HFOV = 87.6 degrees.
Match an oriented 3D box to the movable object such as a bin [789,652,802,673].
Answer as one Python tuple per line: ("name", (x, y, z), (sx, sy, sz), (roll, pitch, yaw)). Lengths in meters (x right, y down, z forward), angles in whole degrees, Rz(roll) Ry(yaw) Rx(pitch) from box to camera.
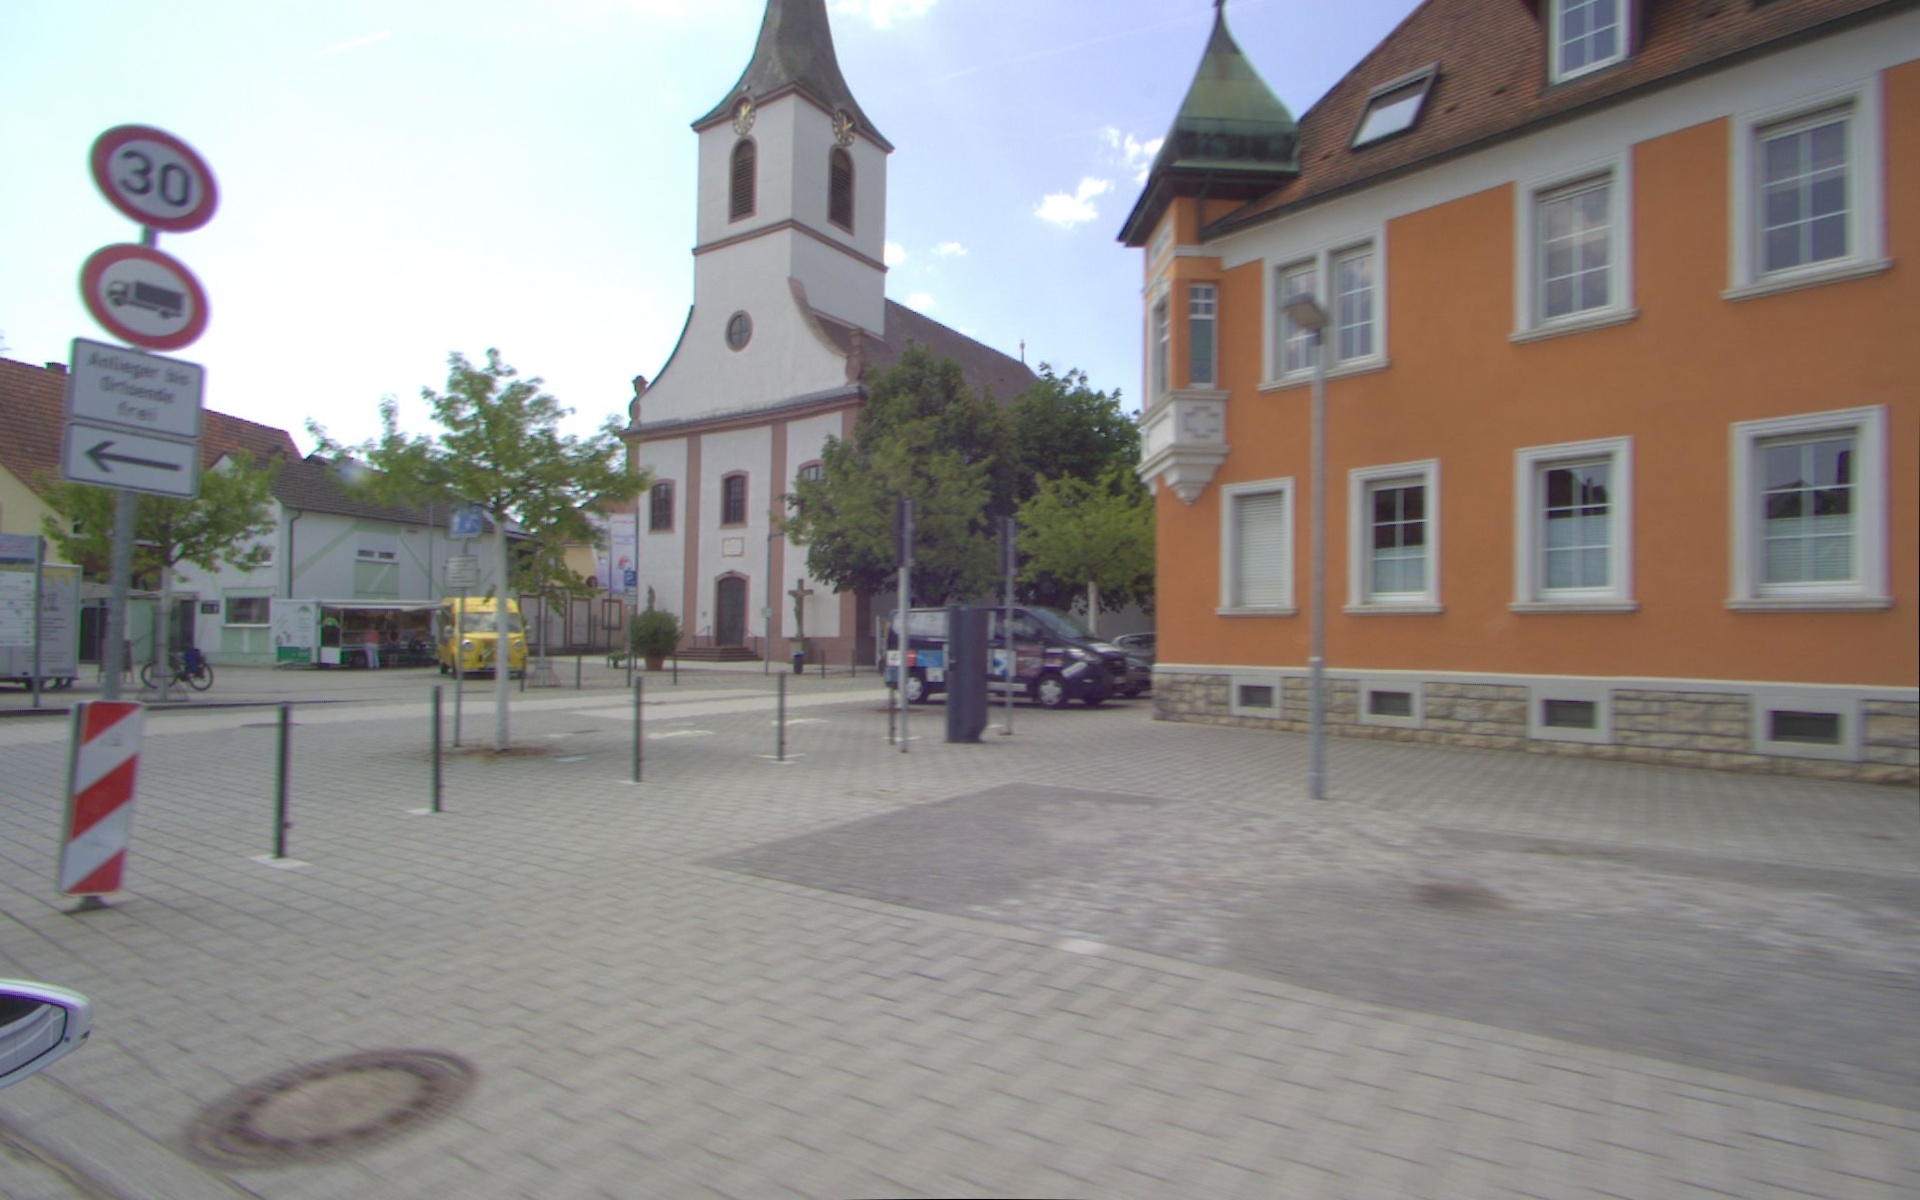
("movable object such as a bin", (-5.762, 2.186, 35.079), (0.359, 0.708, 0.293), (0, -1, 22))

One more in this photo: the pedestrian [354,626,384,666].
("pedestrian", (-21.590, 1.680, 36.585), (0.748, 1.460, 0.643), (-1, -1, 23))

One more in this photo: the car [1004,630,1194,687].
("car", (3.922, 1.624, 28.694), (5.056, 1.459, 1.989), (-1, -2, 35))

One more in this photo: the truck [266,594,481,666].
("truck", (-22.538, 1.206, 38.939), (2.909, 2.529, 6.808), (0, -2, 24))

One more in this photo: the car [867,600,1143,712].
("car", (0.824, 1.076, 20.505), (5.420, 2.039, 1.989), (0, -2, 35))

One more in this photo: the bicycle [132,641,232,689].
("bicycle", (-18.915, 1.569, 24.350), (2.072, 1.082, 0.756), (1, -2, 13))

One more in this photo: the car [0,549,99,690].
("car", (-23.275, 0.489, 23.274), (7.008, 2.999, 2.751), (-1, -3, 30))

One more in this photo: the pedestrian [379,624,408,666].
("pedestrian", (-21.231, 1.695, 37.558), (0.801, 1.560, 0.559), (0, -1, 25))

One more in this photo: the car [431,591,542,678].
("car", (-15.511, 1.100, 32.539), (2.617, 2.509, 6.929), (1, -2, -30))
